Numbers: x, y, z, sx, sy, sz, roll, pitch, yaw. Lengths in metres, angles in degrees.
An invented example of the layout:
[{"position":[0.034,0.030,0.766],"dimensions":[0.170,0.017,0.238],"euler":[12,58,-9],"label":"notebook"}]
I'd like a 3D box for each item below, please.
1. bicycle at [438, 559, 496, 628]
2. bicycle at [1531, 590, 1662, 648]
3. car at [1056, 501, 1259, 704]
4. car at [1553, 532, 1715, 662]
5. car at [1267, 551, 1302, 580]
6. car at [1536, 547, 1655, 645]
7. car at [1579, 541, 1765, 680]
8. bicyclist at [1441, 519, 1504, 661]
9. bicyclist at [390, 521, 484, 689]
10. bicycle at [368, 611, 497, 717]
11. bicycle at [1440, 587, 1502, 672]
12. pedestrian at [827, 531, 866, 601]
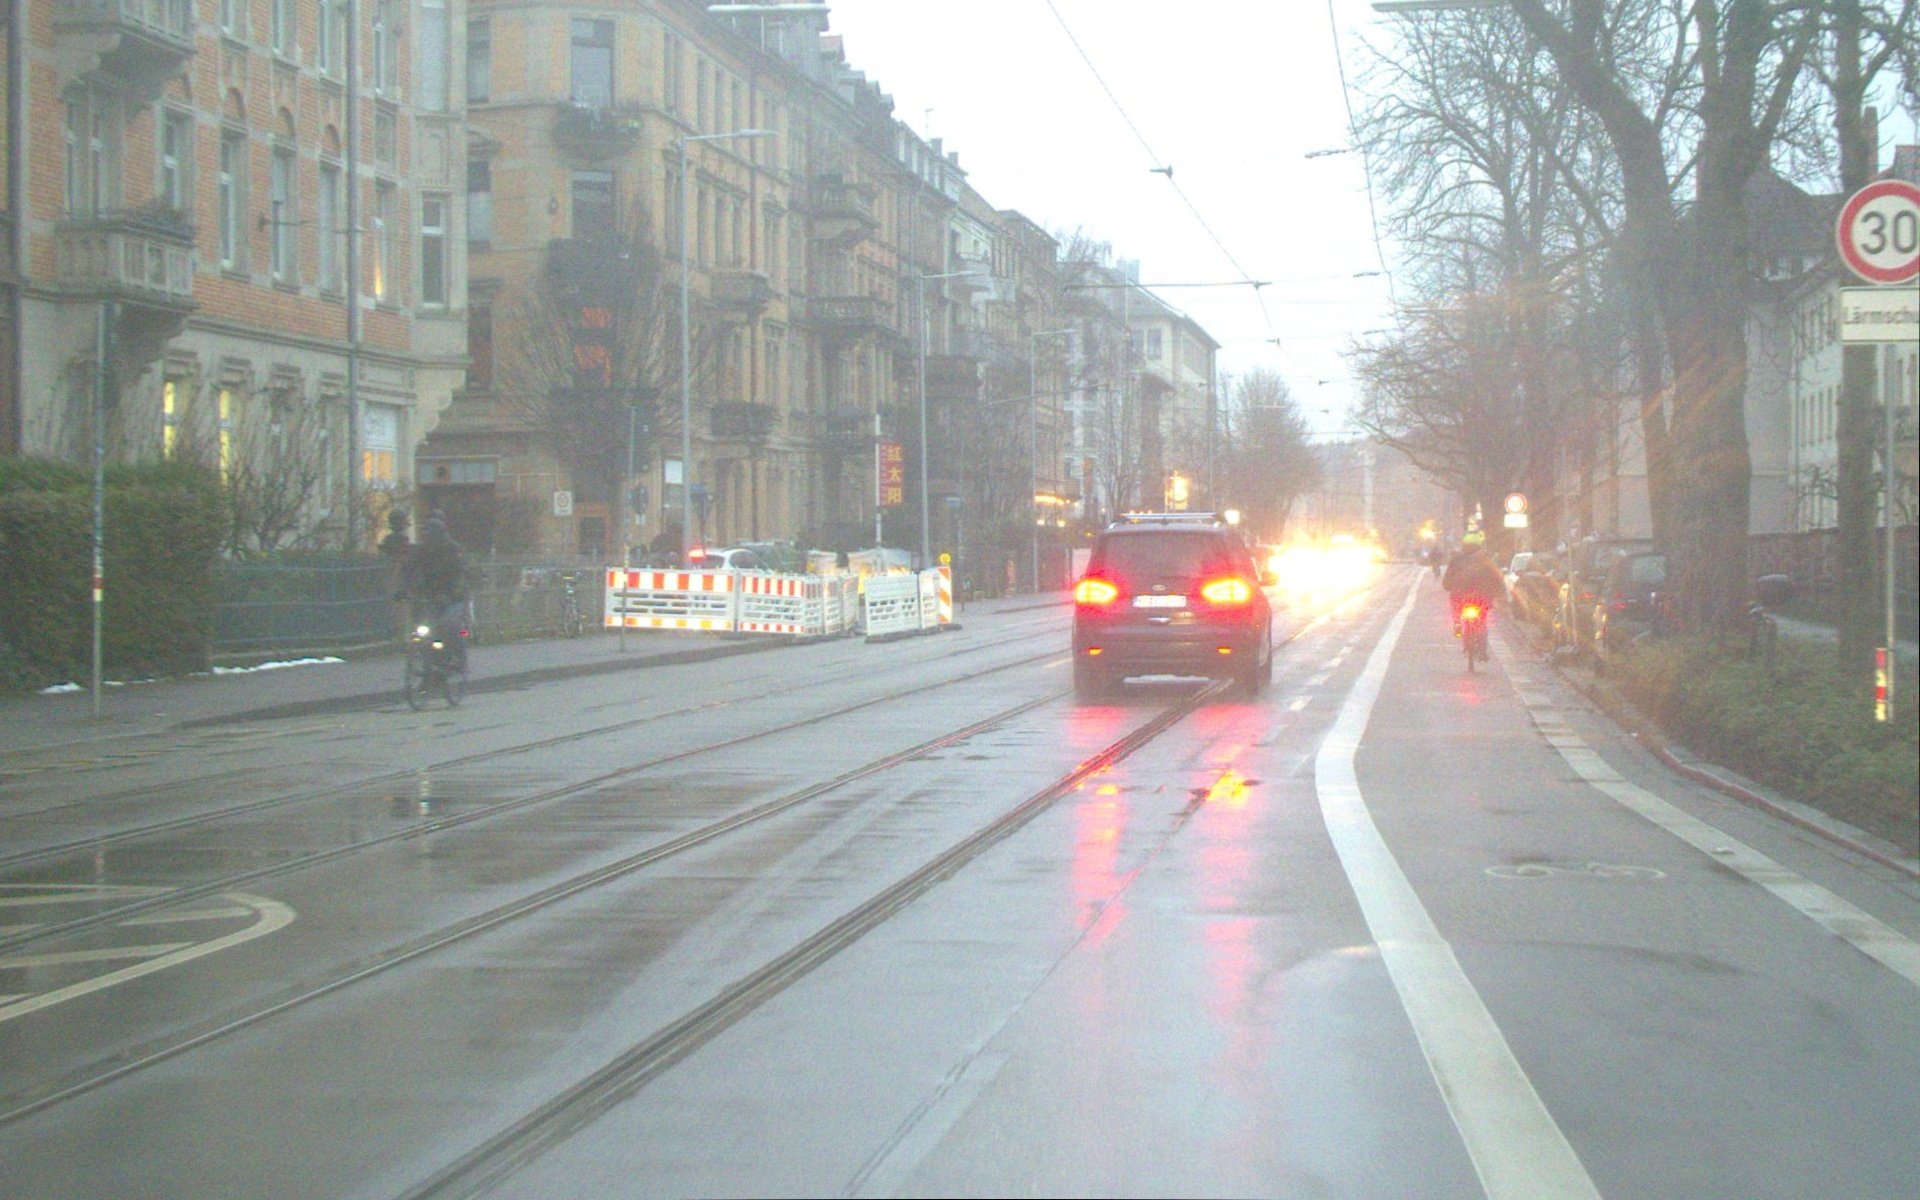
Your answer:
[{"position":[-6.902,-0.100,48.222],"dimensions":[0.263,0.912,1.685],"euler":[6,2,8],"label":"bicycle"},{"position":[10.194,0.304,55.034],"dimensions":[2.015,0.913,0.464],"euler":[0,1,17],"label":"bicycle"},{"position":[2.090,-0.009,35.422],"dimensions":[1.802,1.864,4.017],"euler":[3,1,6],"label":"car"},{"position":[9.445,-0.077,48.499],"dimensions":[1.906,1.721,4.901],"euler":[1,1,7],"label":"car"},{"position":[19.494,-2.088,206.302],"dimensions":[1.924,1.714,3.999],"euler":[1,1,8],"label":"car"},{"position":[10.859,-0.100,59.010],"dimensions":[1.906,1.604,4.559],"euler":[1,1,9],"label":"car"},{"position":[8.140,0.091,39.567],"dimensions":[1.786,1.504,3.986],"euler":[1,1,7],"label":"car"},{"position":[6.320,-0.126,42.379],"dimensions":[0.730,1.730,0.765],"euler":[1,1,9],"label":"bicyclist"},{"position":[-5.096,0.039,33.514],"dimensions":[0.684,1.610,0.765],"euler":[1,1,9],"label":"bicyclist"},{"position":[-5.110,0.607,33.407],"dimensions":[0.678,0.969,1.932],"euler":[1,1,9],"label":"bicycle"},{"position":[6.303,0.355,42.359],"dimensions":[0.732,1.003,1.763],"euler":[1,1,9],"label":"bicycle"},{"position":[-2.865,-0.859,86.811],"dimensions":[0.718,1.767,0.770],"euler":[0,1,-29],"label":"pedestrian"}]
